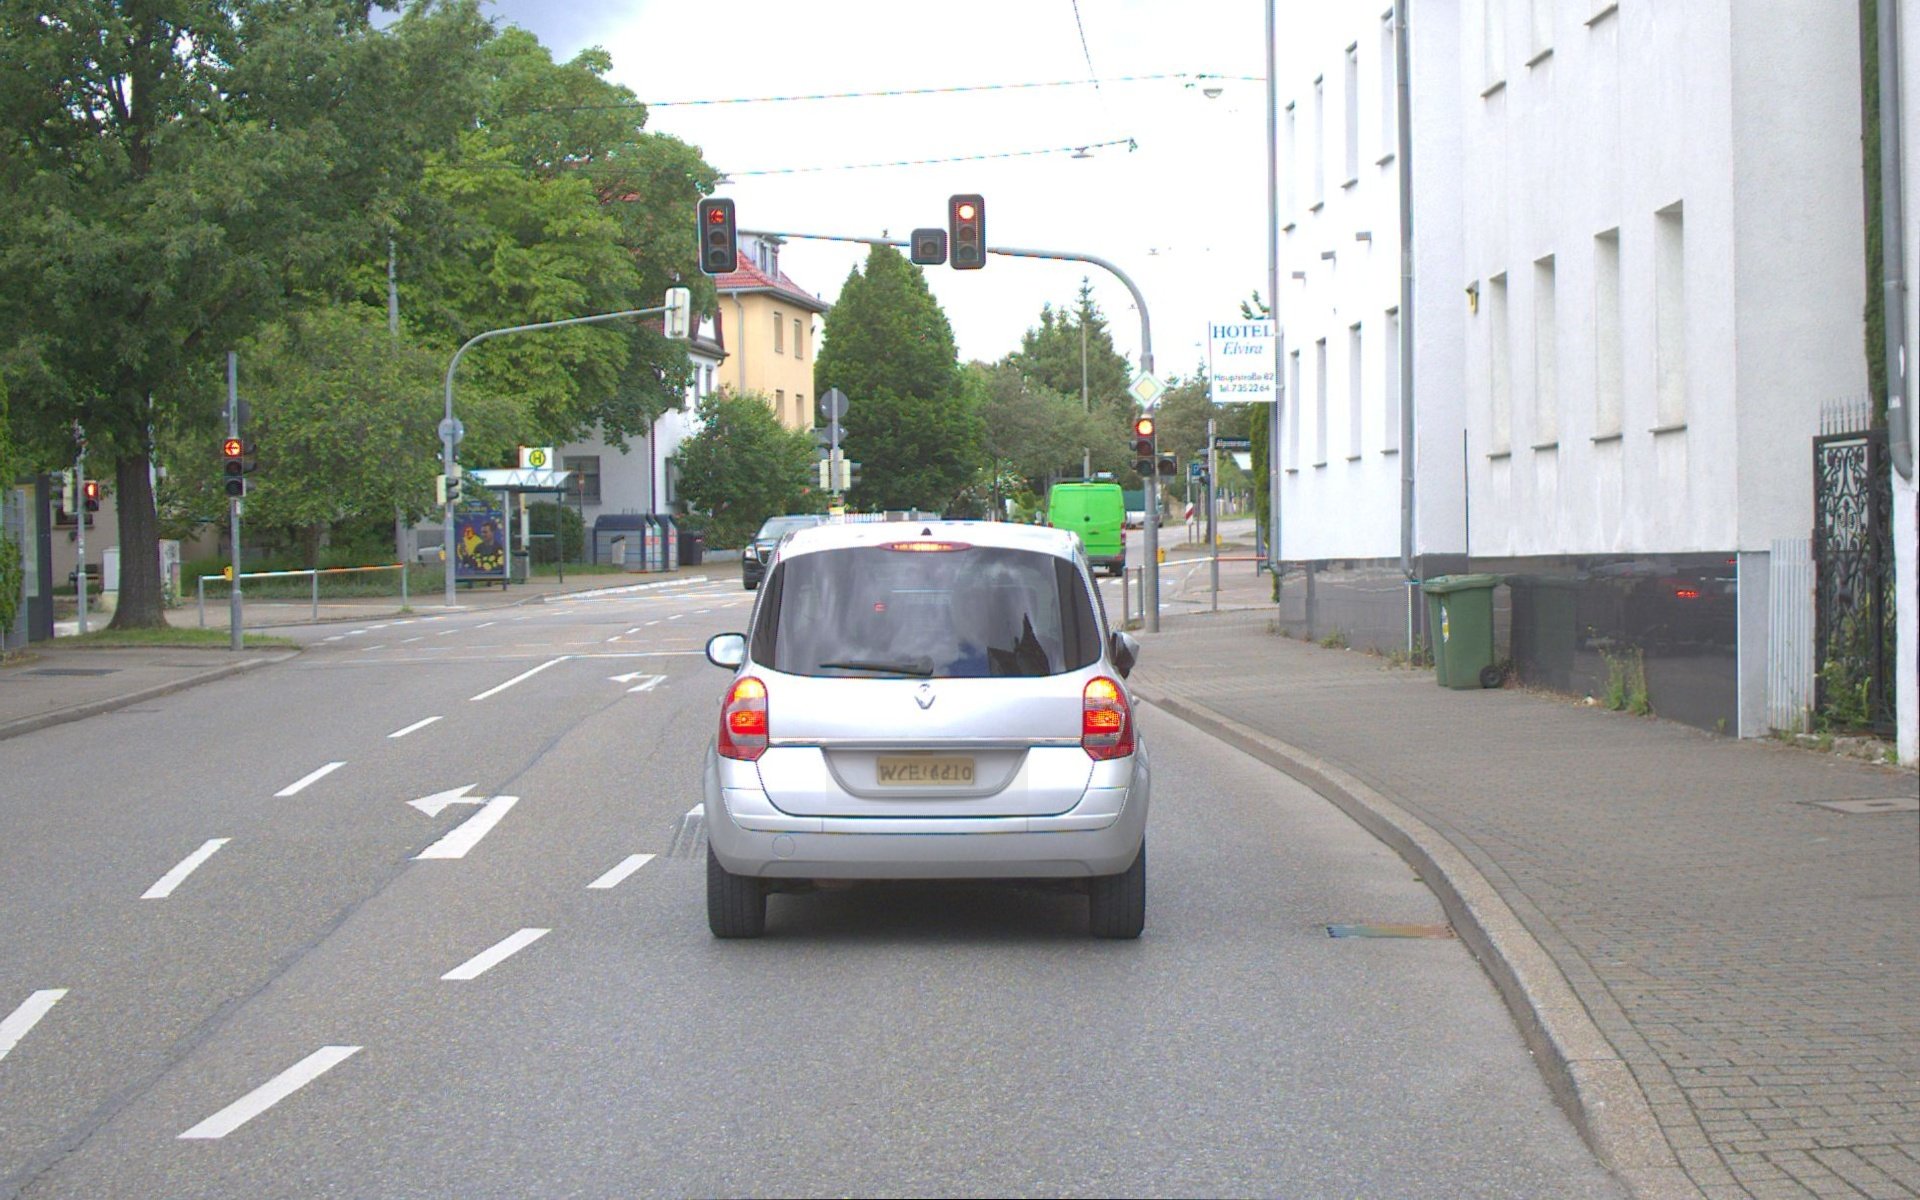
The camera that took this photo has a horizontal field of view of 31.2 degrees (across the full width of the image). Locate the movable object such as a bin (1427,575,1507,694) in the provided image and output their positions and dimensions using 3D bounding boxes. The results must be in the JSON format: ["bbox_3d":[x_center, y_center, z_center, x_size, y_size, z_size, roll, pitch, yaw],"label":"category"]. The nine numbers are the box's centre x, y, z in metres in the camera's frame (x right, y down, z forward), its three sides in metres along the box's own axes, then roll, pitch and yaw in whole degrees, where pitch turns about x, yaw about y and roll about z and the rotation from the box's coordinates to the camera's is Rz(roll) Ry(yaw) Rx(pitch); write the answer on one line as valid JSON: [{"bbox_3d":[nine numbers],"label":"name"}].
[{"bbox_3d":[4.195,0.281,28.448,0.540,0.938,0.487,-3,1,-1],"label":"movable object such as a bin"}]

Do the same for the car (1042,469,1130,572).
[{"bbox_3d":[3.225,-1.994,86.984,2.059,2.503,5.595,0,1,4],"label":"car"}]

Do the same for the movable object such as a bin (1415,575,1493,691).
[{"bbox_3d":[4.161,0.272,28.984,0.540,0.938,0.487,-3,1,-1],"label":"movable object such as a bin"}]

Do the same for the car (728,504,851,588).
[{"bbox_3d":[-3.944,-1.284,80.267,1.927,1.767,3.999,-4,1,9],"label":"car"}]

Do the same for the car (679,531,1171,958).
[{"bbox_3d":[-0.170,0.485,14.283,1.755,1.525,4.000,0,1,-1],"label":"car"}]

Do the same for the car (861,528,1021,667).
[{"bbox_3d":[-0.257,-0.055,39.730,1.755,1.525,3.797,0,1,-1],"label":"car"}]

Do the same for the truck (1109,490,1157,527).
[{"bbox_3d":[9.719,-5.094,192.656,2.102,2.007,5.746,0,1,9],"label":"truck"}]
